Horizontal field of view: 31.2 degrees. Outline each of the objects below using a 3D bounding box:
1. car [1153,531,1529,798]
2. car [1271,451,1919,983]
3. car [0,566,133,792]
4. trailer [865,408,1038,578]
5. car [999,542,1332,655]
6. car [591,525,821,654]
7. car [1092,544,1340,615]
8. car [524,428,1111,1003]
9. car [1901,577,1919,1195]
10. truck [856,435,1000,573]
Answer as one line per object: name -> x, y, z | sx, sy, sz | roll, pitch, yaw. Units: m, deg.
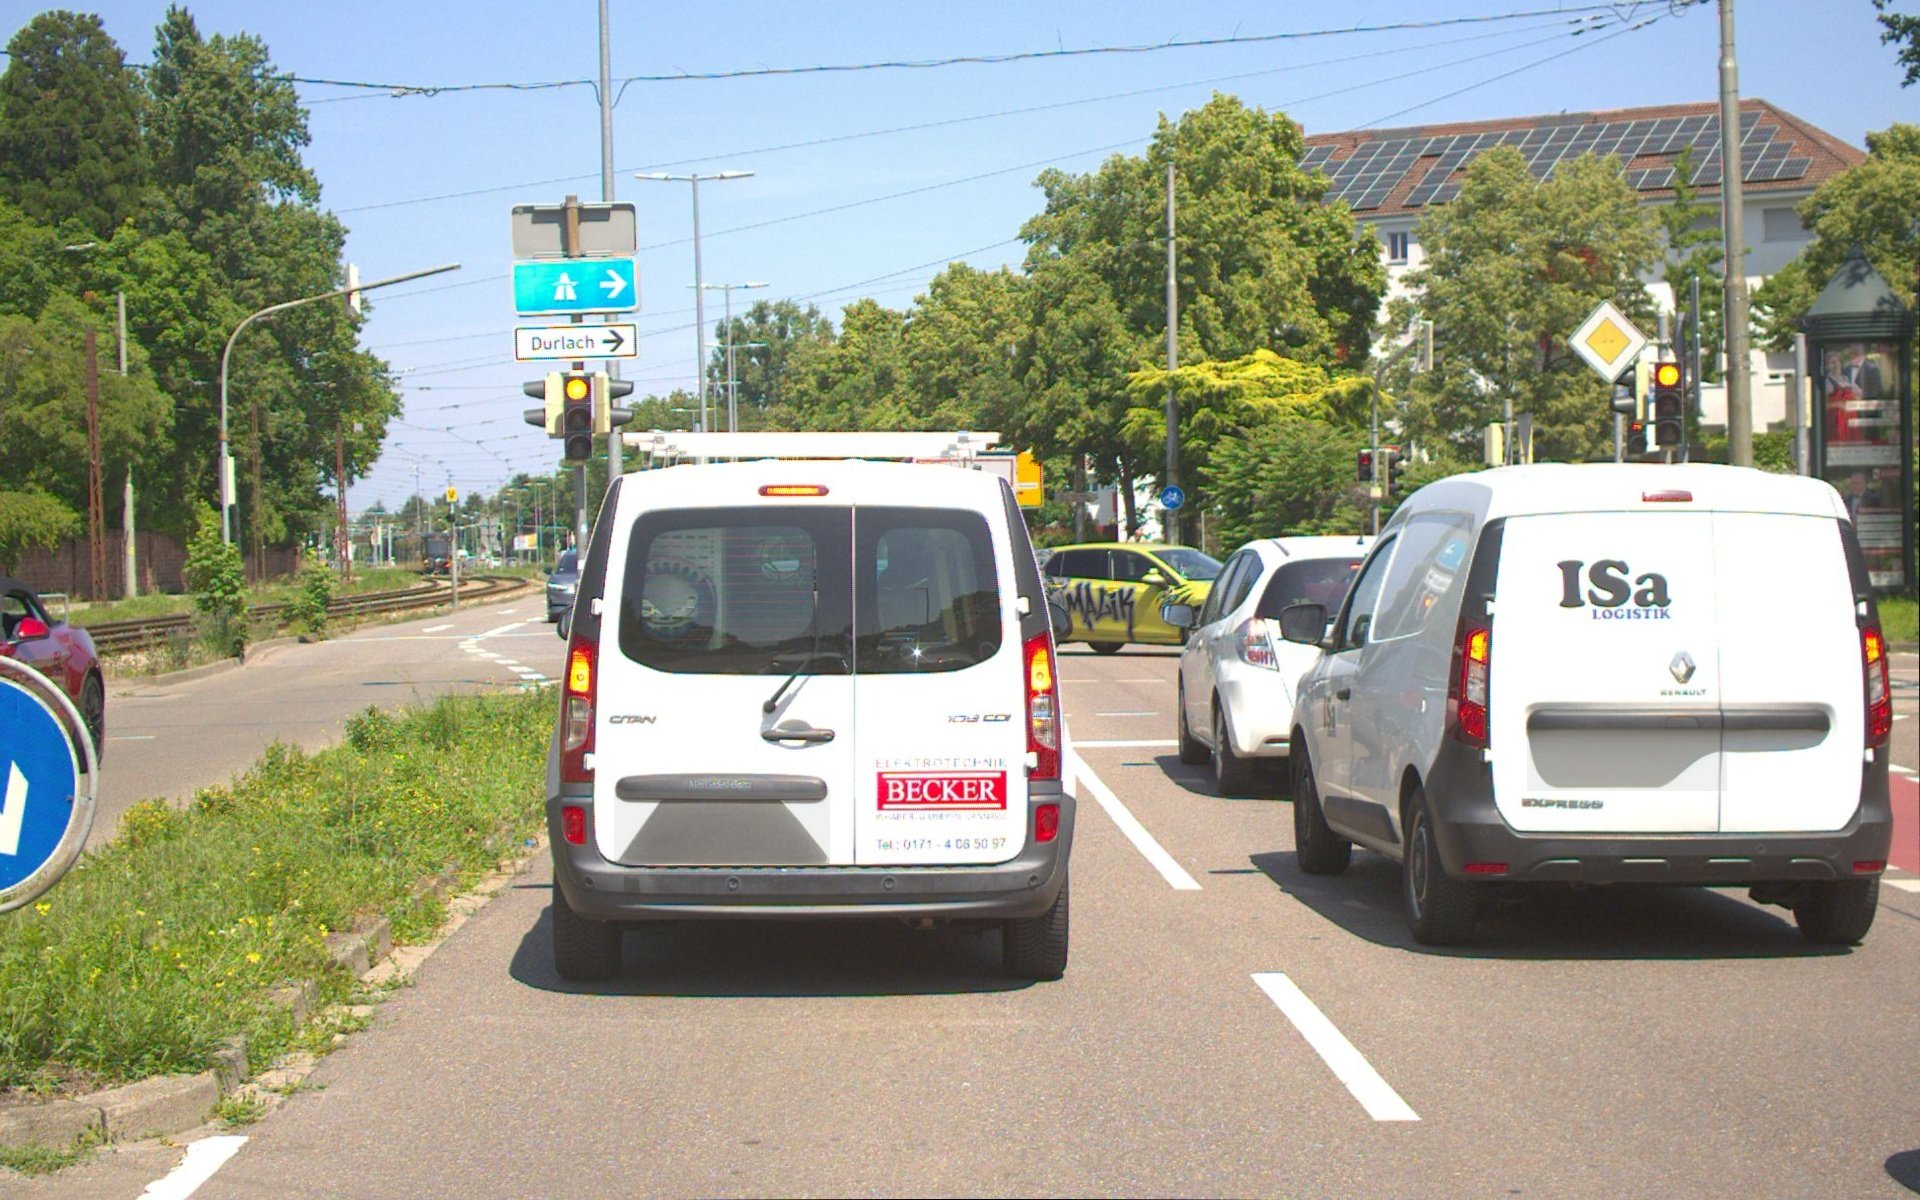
car -> 2.272, 0.329, 21.452 | 1.756, 1.481, 4.000 | -1, 1, -2
car -> 2.412, 0.364, 13.914 | 1.710, 1.824, 4.014 | -1, 1, -3
car -> -6.889, 0.490, 22.297 | 1.984, 1.354, 4.539 | -1, 1, -1
trailer -> -0.320, -2.639, 86.600 | 3.527, 4.037, 8.979 | -1, 1, -5
car -> 2.598, -0.028, 43.815 | 3.997, 1.374, 1.541 | 0, 1, 33
car -> -3.881, -0.181, 51.948 | 1.993, 1.853, 4.000 | -1, 1, -28
car -> 4.545, -0.361, 61.154 | 3.994, 1.218, 1.859 | 0, 1, 33
car -> -0.534, 0.335, 12.891 | 1.866, 1.829, 3.849 | 0, 1, -2
car -> 3.108, 0.704, 6.449 | 1.607, 1.446, 3.521 | 0, 1, -2
truck -> -0.979, -2.628, 95.515 | 3.575, 3.620, 8.810 | -1, 1, -3
